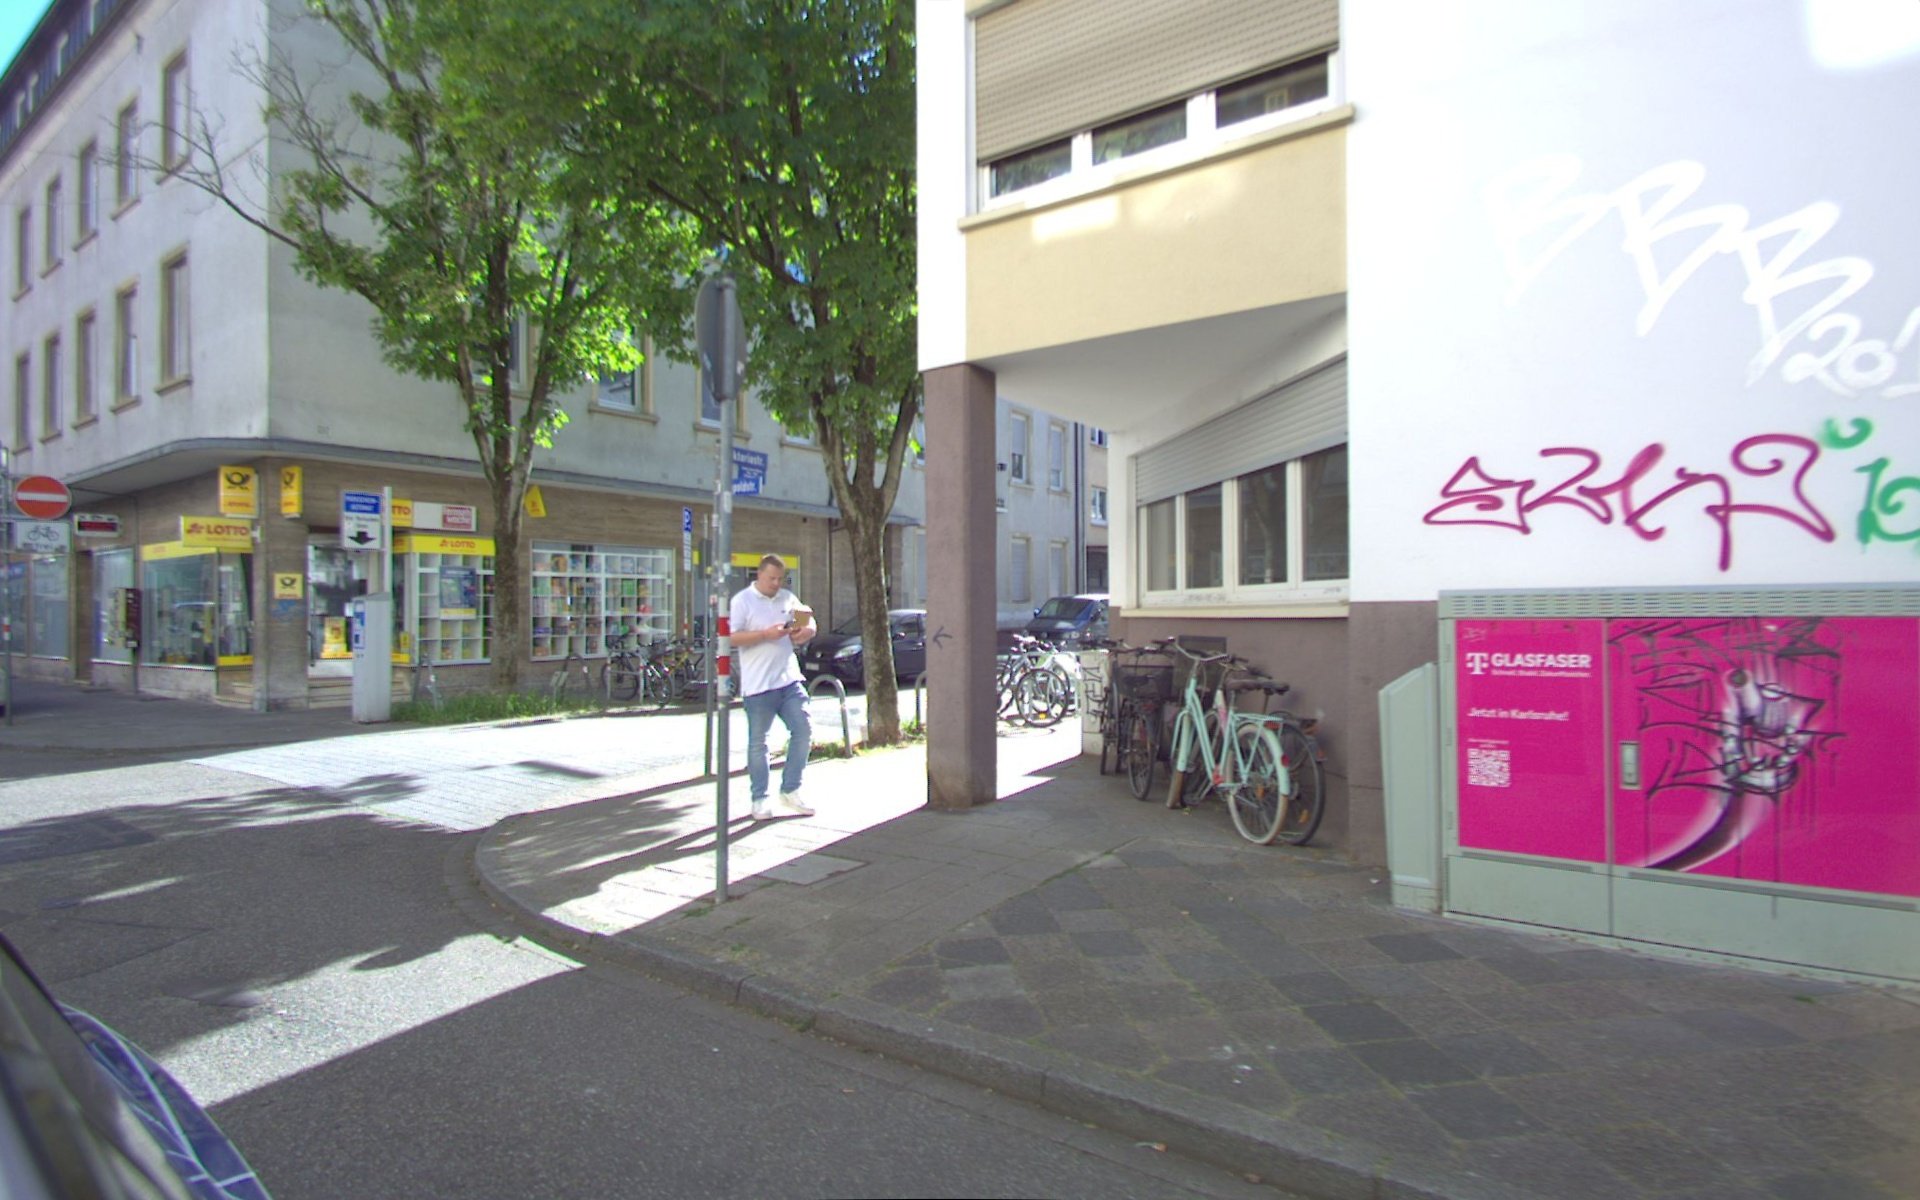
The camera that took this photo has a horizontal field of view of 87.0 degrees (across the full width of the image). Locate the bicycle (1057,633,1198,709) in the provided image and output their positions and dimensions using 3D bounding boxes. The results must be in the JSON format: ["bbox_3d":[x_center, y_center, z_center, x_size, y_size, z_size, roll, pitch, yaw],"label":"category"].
[{"bbox_3d":[2.550,1.103,15.549,1.992,1.075,0.673,-5,-3,35],"label":"bicycle"}]

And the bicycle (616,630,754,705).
[{"bbox_3d":[-4.633,1.103,16.962,2.419,1.135,0.702,0,-1,29],"label":"bicycle"}]

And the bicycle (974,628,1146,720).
[{"bbox_3d":[1.341,1.026,14.074,2.434,1.194,0.498,-3,-4,35],"label":"bicycle"}]

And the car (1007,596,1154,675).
[{"bbox_3d":[3.436,0.919,28.115,2.082,1.961,4.541,1,0,37],"label":"car"}]

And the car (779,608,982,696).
[{"bbox_3d":[-1.544,0.994,21.053,1.899,1.598,4.187,1,0,38],"label":"car"}]

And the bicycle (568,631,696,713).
[{"bbox_3d":[-5.140,1.084,15.777,2.304,1.152,0.701,0,-1,37],"label":"bicycle"}]

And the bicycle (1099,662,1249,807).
[{"bbox_3d":[1.618,0.988,7.944,0.376,0.920,1.868,0,-1,-14],"label":"bicycle"}]

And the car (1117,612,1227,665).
[{"bbox_3d":[6.893,1.219,32.609,1.854,1.601,4.355,-2,-2,36],"label":"car"}]

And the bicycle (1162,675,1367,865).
[{"bbox_3d":[1.798,0.966,6.215,0.424,0.889,1.574,-2,0,-15],"label":"bicycle"}]

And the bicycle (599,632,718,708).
[{"bbox_3d":[-4.927,1.101,16.443,2.399,1.126,0.517,0,-1,36],"label":"bicycle"}]

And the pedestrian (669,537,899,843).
[{"bbox_3d":[-1.194,0.565,6.856,1.243,1.846,0.903,-3,-2,36],"label":"pedestrian"}]

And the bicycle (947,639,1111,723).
[{"bbox_3d":[0.888,1.088,13.586,2.179,1.037,0.633,-4,-3,38],"label":"bicycle"}]

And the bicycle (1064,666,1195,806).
[{"bbox_3d":[1.247,0.985,7.742,0.397,0.904,1.589,0,-2,-13],"label":"bicycle"}]

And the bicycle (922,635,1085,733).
[{"bbox_3d":[0.505,1.005,12.433,2.058,1.110,0.477,-2,-2,35],"label":"bicycle"}]

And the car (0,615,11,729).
[{"bbox_3d":[-15.188,1.012,14.540,3.715,1.572,1.652,-1,-1,37],"label":"car"}]

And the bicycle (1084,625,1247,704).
[{"bbox_3d":[3.291,1.058,16.363,2.417,1.155,0.826,-5,-3,35],"label":"bicycle"}]
